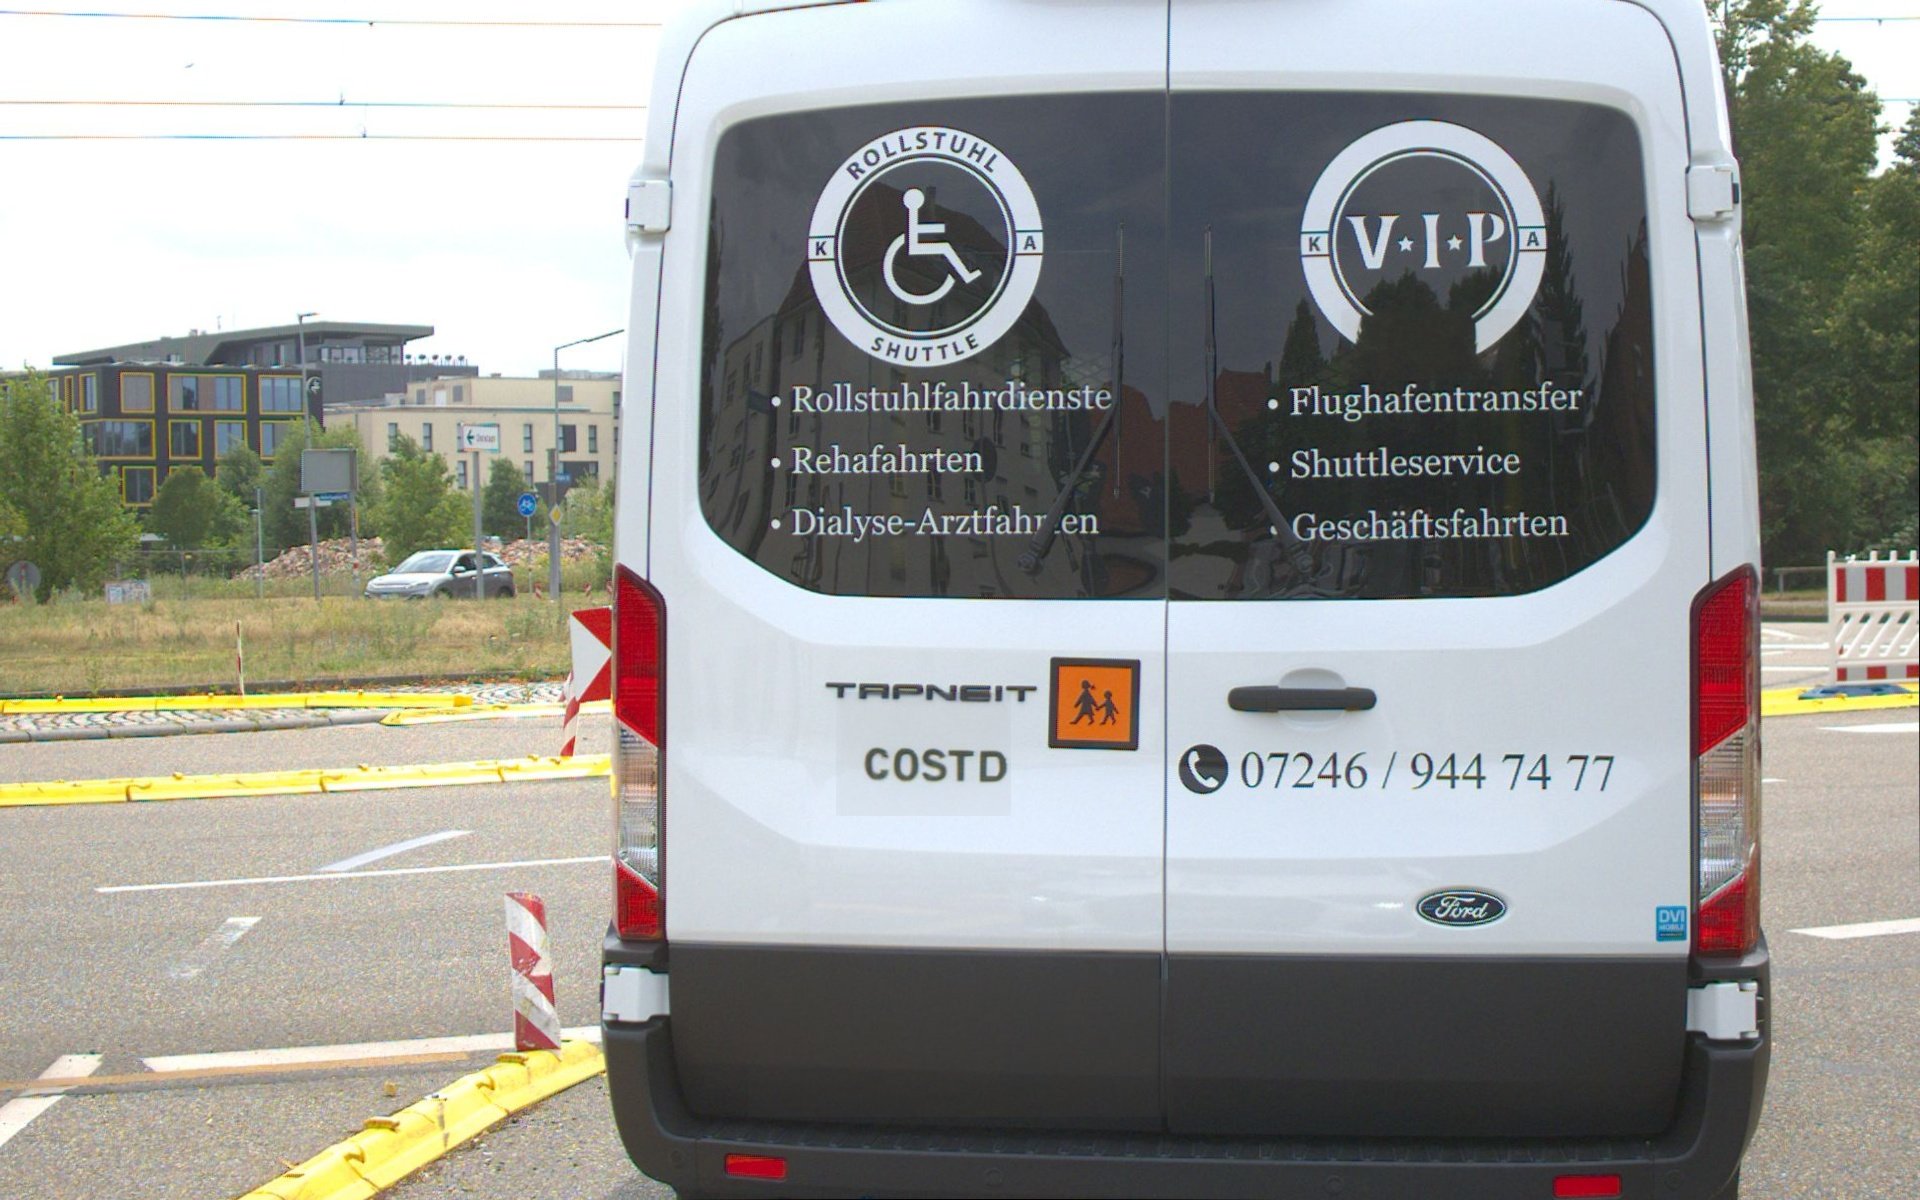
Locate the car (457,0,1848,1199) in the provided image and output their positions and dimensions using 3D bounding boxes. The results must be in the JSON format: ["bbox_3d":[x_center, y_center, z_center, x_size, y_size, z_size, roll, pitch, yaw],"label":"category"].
[{"bbox_3d":[0.525,-0.020,8.132,2.126,2.688,5.631,-1,1,5],"label":"car"}]

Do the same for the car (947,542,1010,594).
[{"bbox_3d":[0.691,-1.143,124.155,1.994,1.842,3.999,0,0,5],"label":"car"}]

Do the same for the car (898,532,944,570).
[{"bbox_3d":[-1.947,-2.420,171.164,1.994,1.842,3.999,0,0,4],"label":"car"}]

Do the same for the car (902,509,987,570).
[{"bbox_3d":[-0.475,-1.885,108.867,1.994,1.842,3.998,0,0,10],"label":"car"}]

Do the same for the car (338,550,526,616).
[{"bbox_3d":[-12.081,-0.403,78.773,1.832,1.458,3.990,-1,0,42],"label":"car"}]
